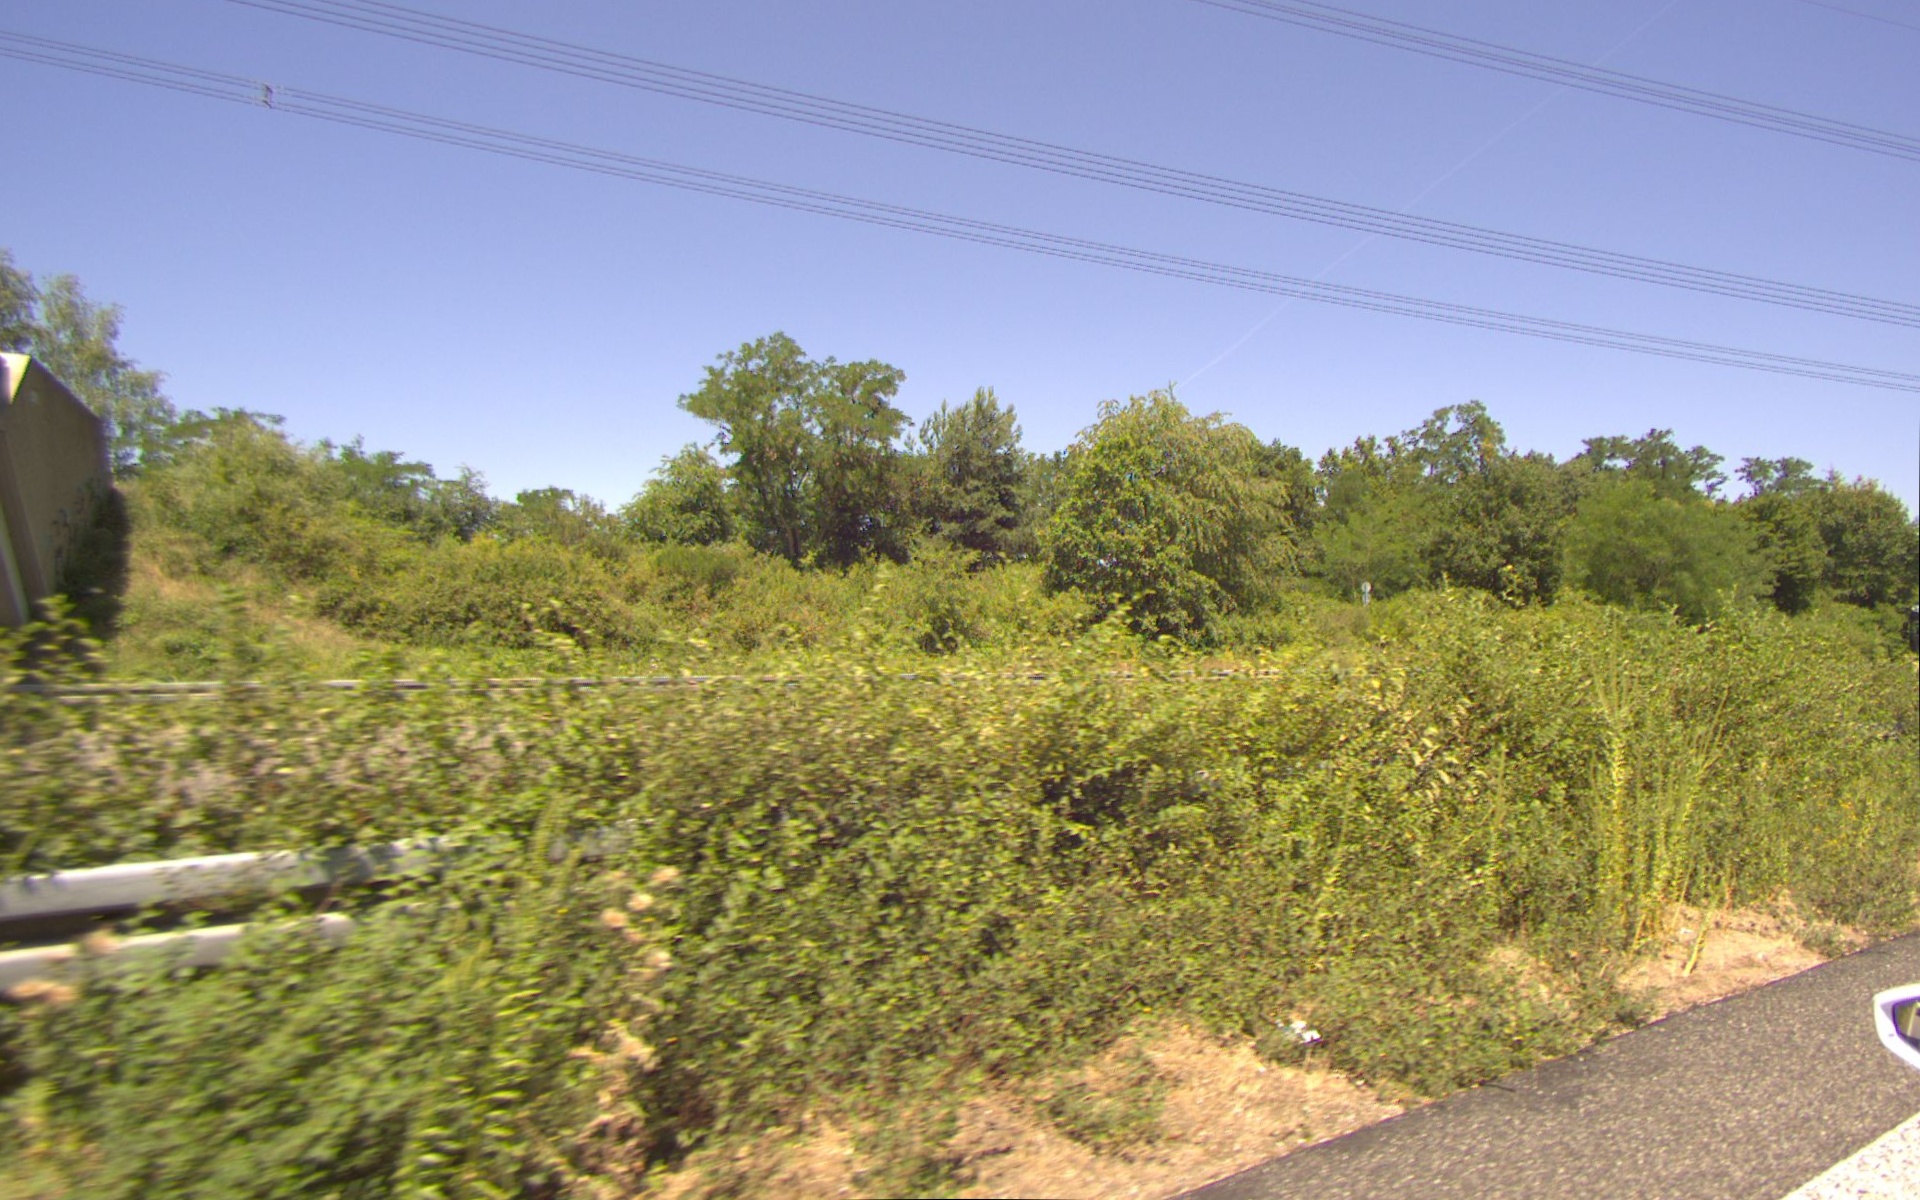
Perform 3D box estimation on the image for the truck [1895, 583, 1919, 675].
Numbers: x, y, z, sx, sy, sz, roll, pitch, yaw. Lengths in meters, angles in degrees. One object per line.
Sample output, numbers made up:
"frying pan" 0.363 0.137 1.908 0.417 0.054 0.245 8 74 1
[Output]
"truck" 48.079 1.459 47.563 10.095 4.175 2.746 2 -2 -30
